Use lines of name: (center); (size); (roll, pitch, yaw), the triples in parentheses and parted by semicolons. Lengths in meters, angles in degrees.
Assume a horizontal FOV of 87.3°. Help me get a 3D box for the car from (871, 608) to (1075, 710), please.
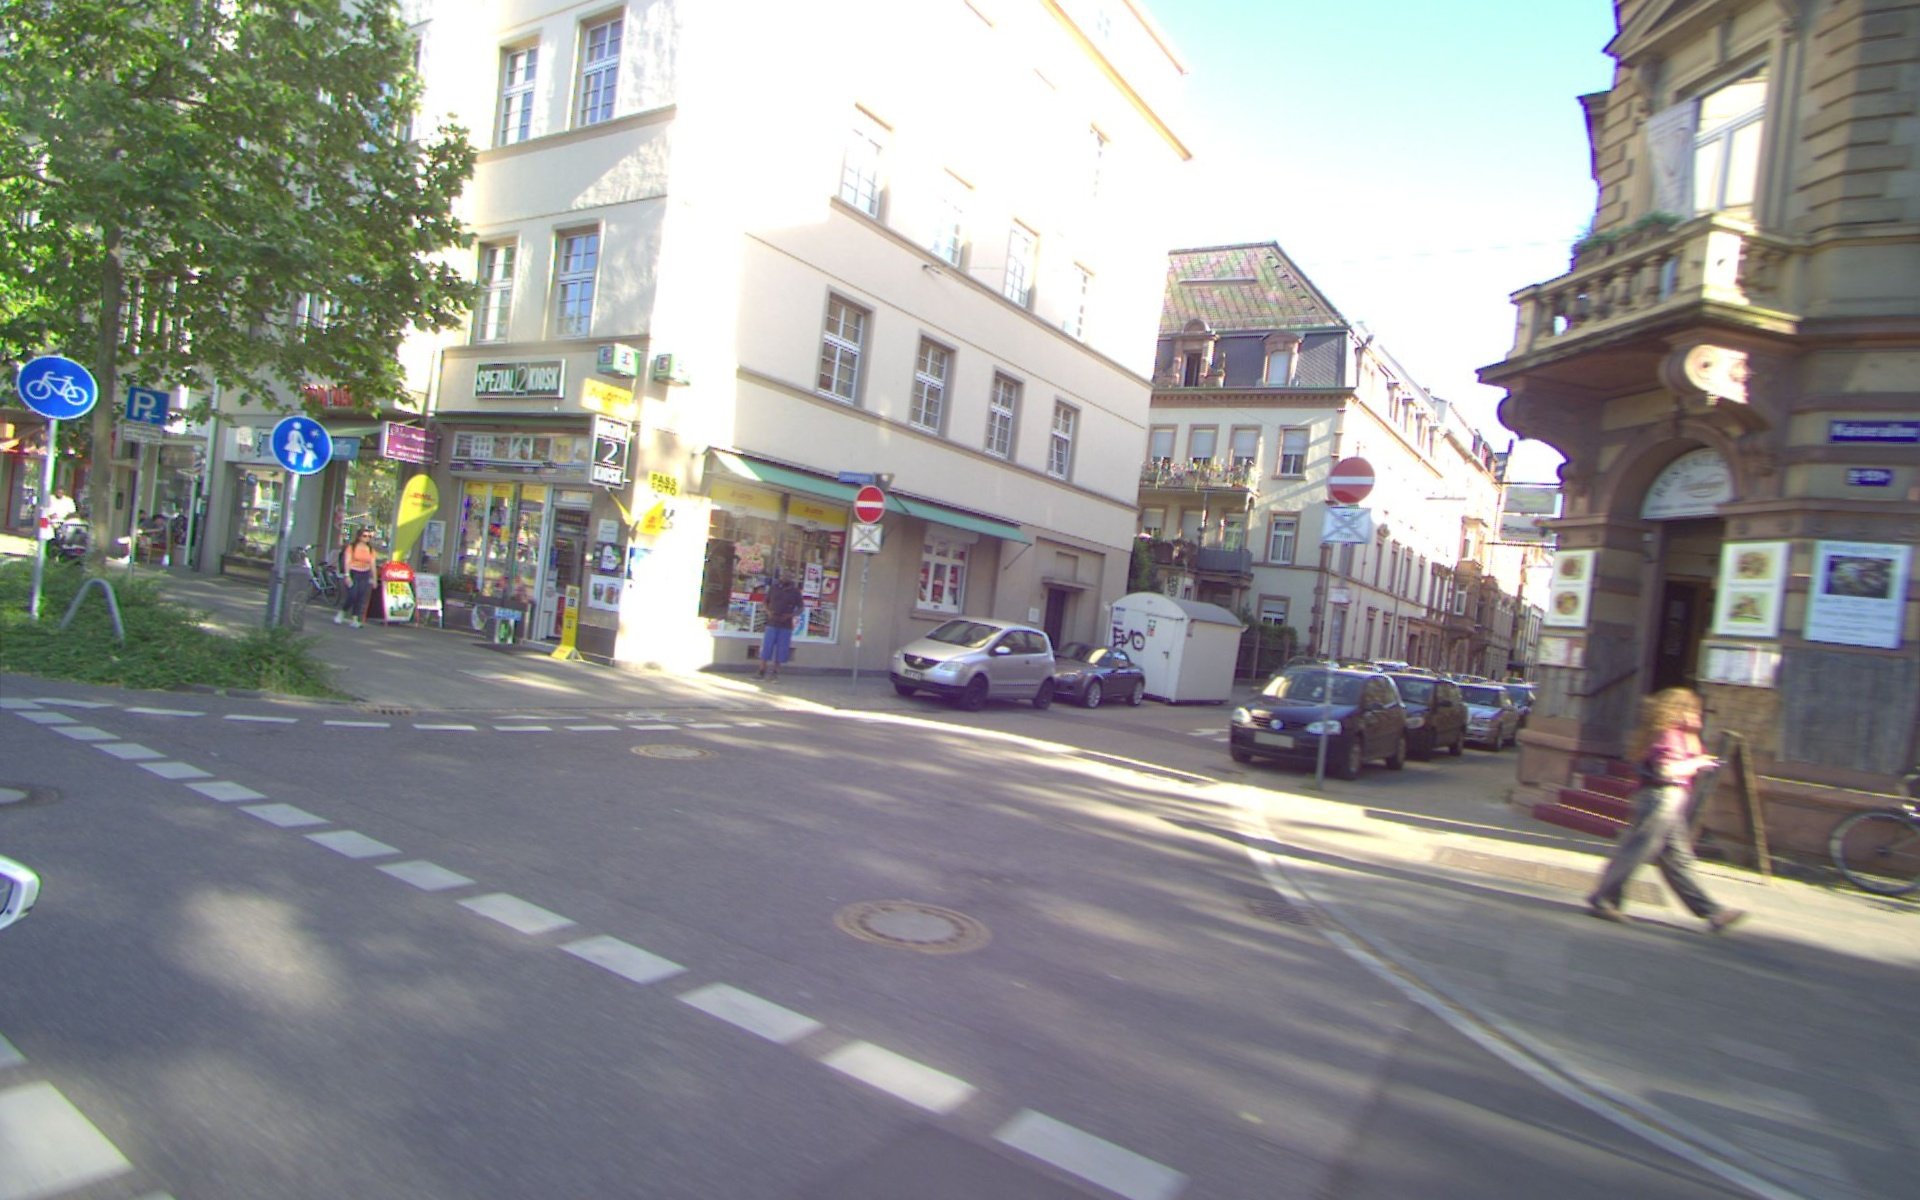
car: (0.351, 1.104, 18.224); (1.640, 1.492, 3.940); (7, 0, 35)

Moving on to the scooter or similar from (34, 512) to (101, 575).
scooter or similar: (-18.599, -1.174, 20.966); (0.834, 1.187, 0.745); (7, 2, 29)

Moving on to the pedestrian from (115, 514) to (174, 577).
pedestrian: (-19.681, -1.306, 24.281); (0.843, 1.386, 0.785); (7, 1, 32)

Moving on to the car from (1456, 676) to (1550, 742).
car: (15.219, 3.043, 28.109); (1.678, 1.485, 3.764); (6, -1, 37)

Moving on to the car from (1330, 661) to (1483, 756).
car: (8.609, 2.049, 19.214); (1.675, 1.422, 3.986); (7, -1, 38)

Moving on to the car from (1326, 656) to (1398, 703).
car: (15.713, 3.121, 39.237); (1.685, 1.562, 3.690); (7, 0, 35)

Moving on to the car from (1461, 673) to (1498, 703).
car: (30.616, 5.206, 59.269); (1.419, 1.458, 2.994); (7, -2, 35)

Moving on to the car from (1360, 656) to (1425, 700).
car: (18.517, 3.365, 42.987); (1.658, 1.615, 3.703); (7, -1, 35)

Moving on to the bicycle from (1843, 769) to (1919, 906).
bicycle: (8.370, 2.054, 8.156); (1.701, 1.033, 0.280); (7, 2, 32)

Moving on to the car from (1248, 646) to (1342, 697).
car: (11.478, 2.472, 34.315); (1.875, 1.425, 3.988); (7, -1, 35)

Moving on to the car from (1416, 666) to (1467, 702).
car: (25.025, 4.375, 52.220); (1.658, 1.615, 3.703); (7, 0, 35)

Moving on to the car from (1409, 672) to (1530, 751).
car: (11.884, 2.618, 23.342); (1.746, 1.458, 3.990); (6, -3, 37)

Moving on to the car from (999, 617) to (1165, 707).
car: (2.783, 1.399, 22.132); (1.815, 1.615, 3.988); (7, 0, 35)

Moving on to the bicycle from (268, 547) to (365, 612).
bicycle: (-12.648, -0.421, 19.741); (2.579, 1.037, 0.490); (7, 2, 32)

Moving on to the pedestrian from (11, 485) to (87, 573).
pedestrian: (-19.382, -1.503, 21.416); (0.901, 1.726, 0.860); (7, 1, 30)

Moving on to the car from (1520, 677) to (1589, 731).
car: (21.860, 3.841, 36.920); (1.666, 1.632, 3.973); (6, -2, 37)

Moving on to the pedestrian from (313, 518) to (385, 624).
pedestrian: (-10.014, -0.470, 16.493); (0.553, 1.641, 0.683); (7, 1, 29)

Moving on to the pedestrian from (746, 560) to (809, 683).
pedestrian: (-3.004, 0.359, 16.558); (0.577, 1.925, 0.553); (7, -1, 21)

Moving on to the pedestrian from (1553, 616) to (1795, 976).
pedestrian: (4.684, 1.224, 6.701); (1.029, 2.037, 1.090); (7, -1, 33)

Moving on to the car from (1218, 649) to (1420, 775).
car: (5.425, 1.627, 14.913); (1.612, 1.429, 3.909); (7, -1, 37)

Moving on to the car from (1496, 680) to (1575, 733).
car: (18.329, 3.382, 31.980); (1.492, 1.408, 3.446); (6, 0, 40)

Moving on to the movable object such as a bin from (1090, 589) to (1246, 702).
movable object such as a bin: (5.446, 1.219, 26.044); (2.505, 2.576, 3.778); (4, -2, 35)

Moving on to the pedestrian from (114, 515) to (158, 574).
pedestrian: (-20.352, -1.366, 24.844); (0.807, 1.349, 0.535); (7, 1, 32)

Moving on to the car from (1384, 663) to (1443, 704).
car: (20.924, 3.870, 46.390); (1.658, 1.615, 3.703); (7, 0, 35)
